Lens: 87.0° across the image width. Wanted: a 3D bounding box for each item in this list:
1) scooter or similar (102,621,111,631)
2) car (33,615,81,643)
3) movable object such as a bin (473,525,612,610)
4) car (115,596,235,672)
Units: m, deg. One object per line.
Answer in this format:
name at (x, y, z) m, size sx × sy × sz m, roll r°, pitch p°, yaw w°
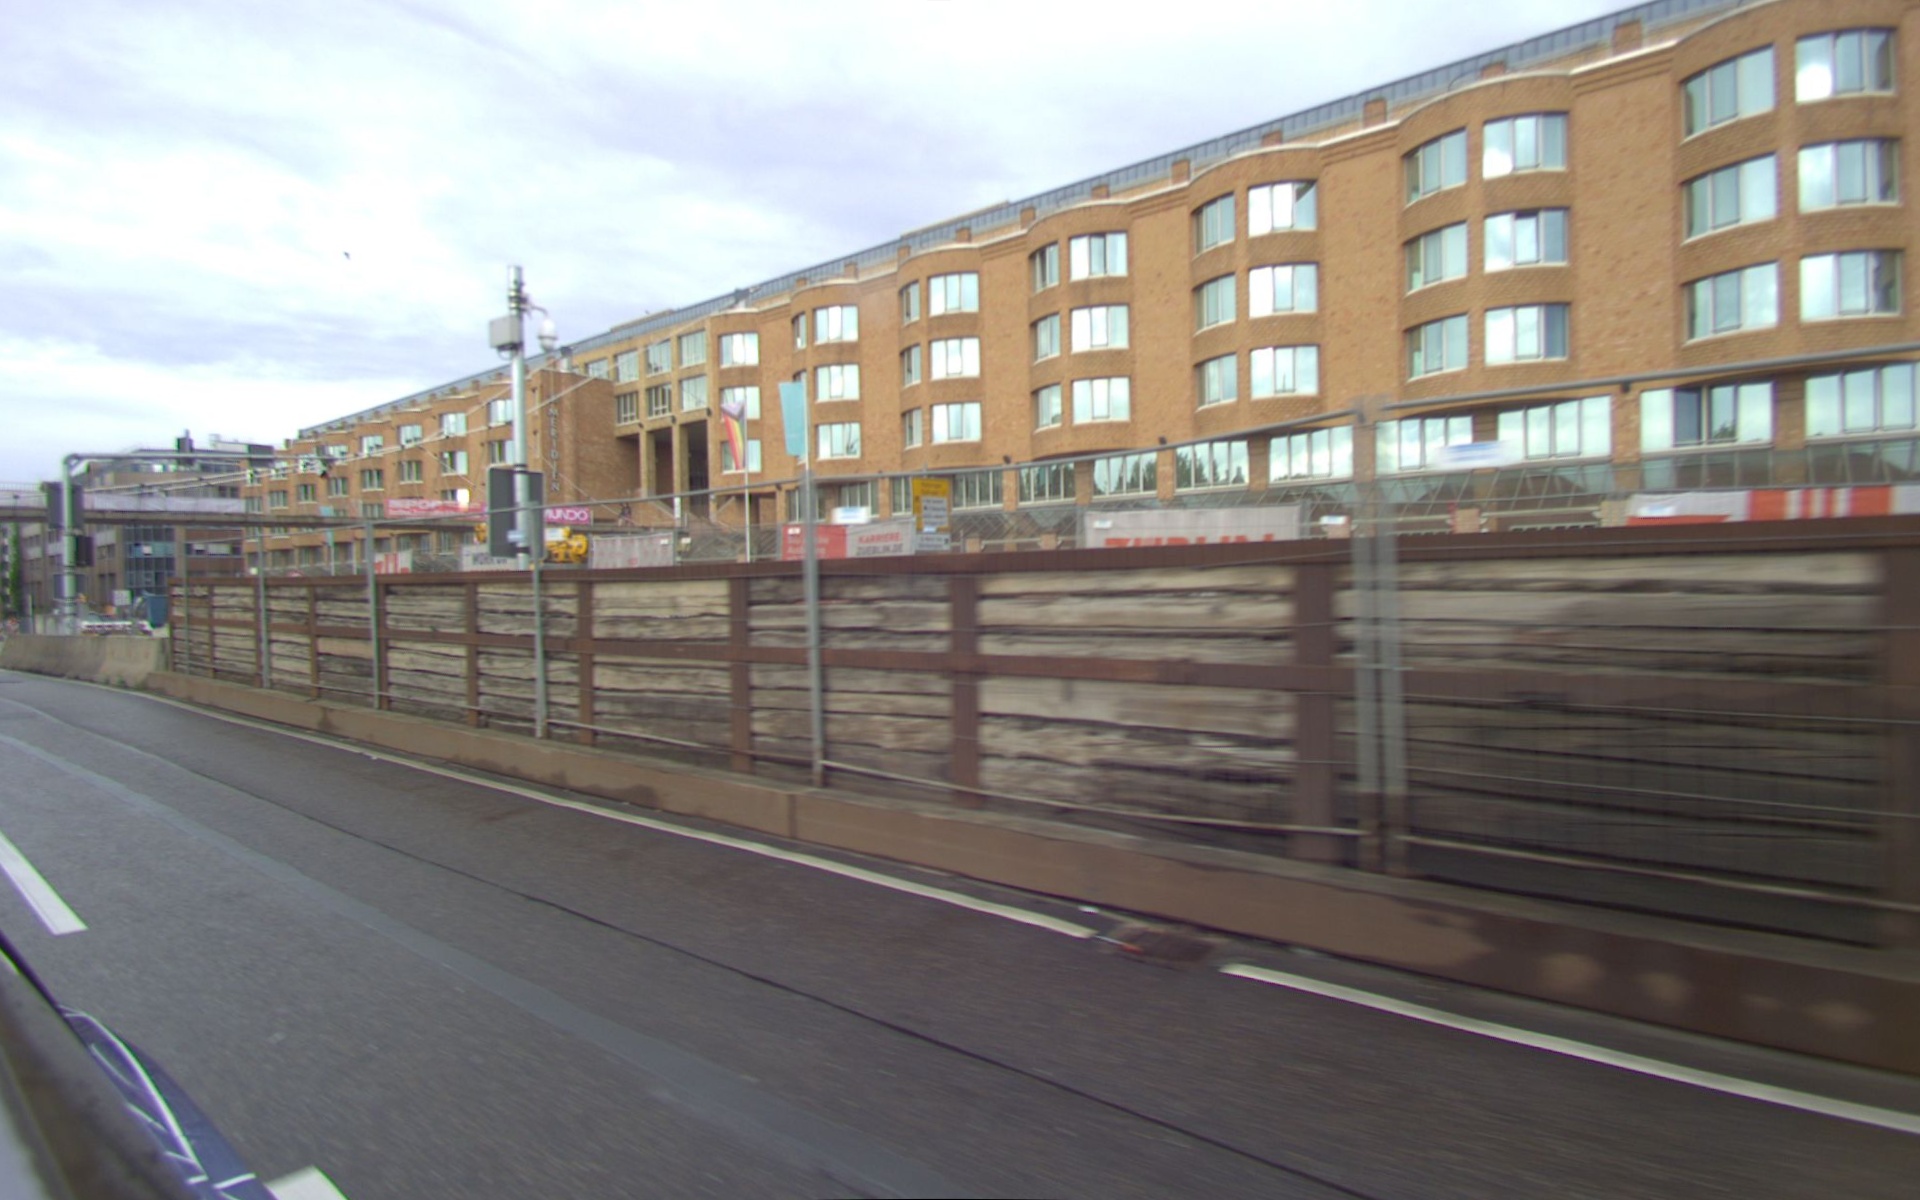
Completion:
scooter or similar at (-99.490, 3.014, 117.973) m, size 1.040 × 1.071 × 0.446 m, roll -2°, pitch 0°, yaw 29°
car at (-64.341, 2.081, 72.070) m, size 5.295 × 1.835 × 1.788 m, roll -3°, pitch -1°, yaw 40°
movable object such as a bin at (-12.695, -0.901, 30.703) m, size 4.286 × 2.295 × 2.007 m, roll -1°, pitch -3°, yaw 37°
car at (-21.215, 0.893, 27.300) m, size 4.249 × 1.814 × 1.775 m, roll -2°, pitch 1°, yaw 42°
